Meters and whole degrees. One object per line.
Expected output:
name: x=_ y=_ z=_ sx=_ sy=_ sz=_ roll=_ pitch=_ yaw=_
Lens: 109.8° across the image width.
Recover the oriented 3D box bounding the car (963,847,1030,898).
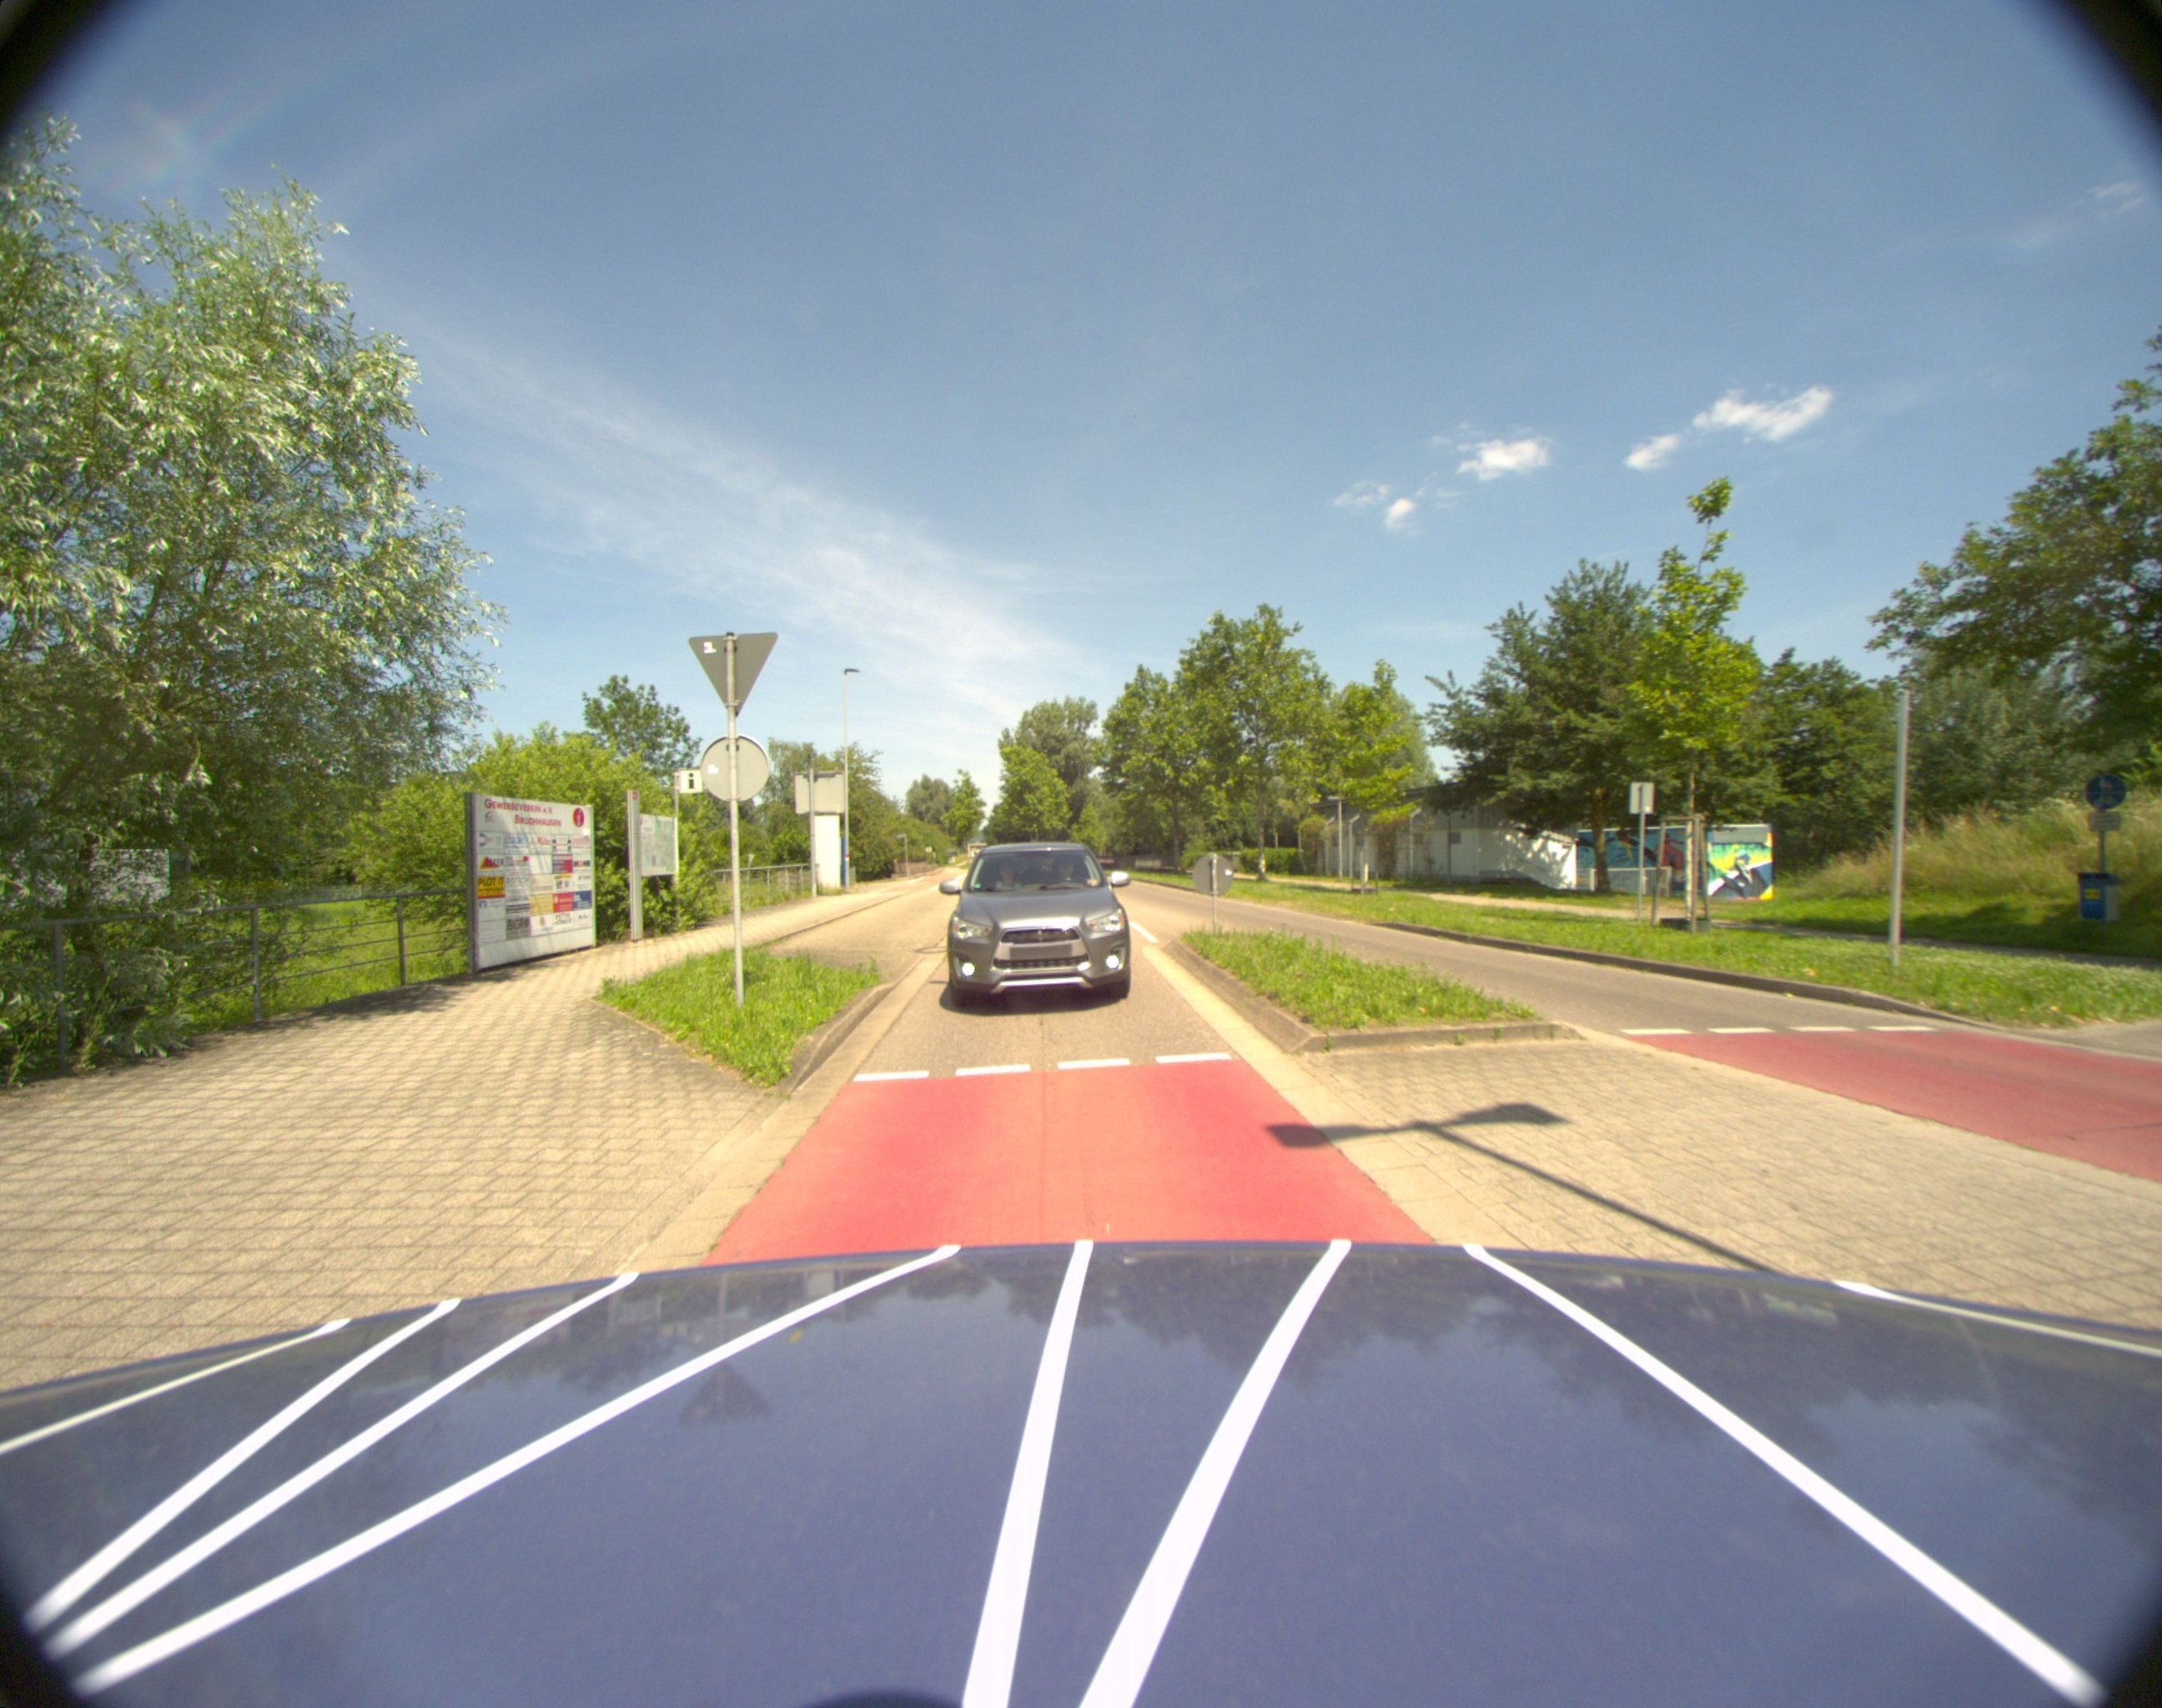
car: x=-2.767 y=0.574 z=25.719 sx=1.793 sy=1.531 sz=4.131 roll=-2 pitch=0 yaw=-1

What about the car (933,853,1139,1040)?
car: x=-0.638 y=0.791 z=8.862 sx=1.751 sy=1.525 sz=4.521 roll=-2 pitch=1 yaw=-7
